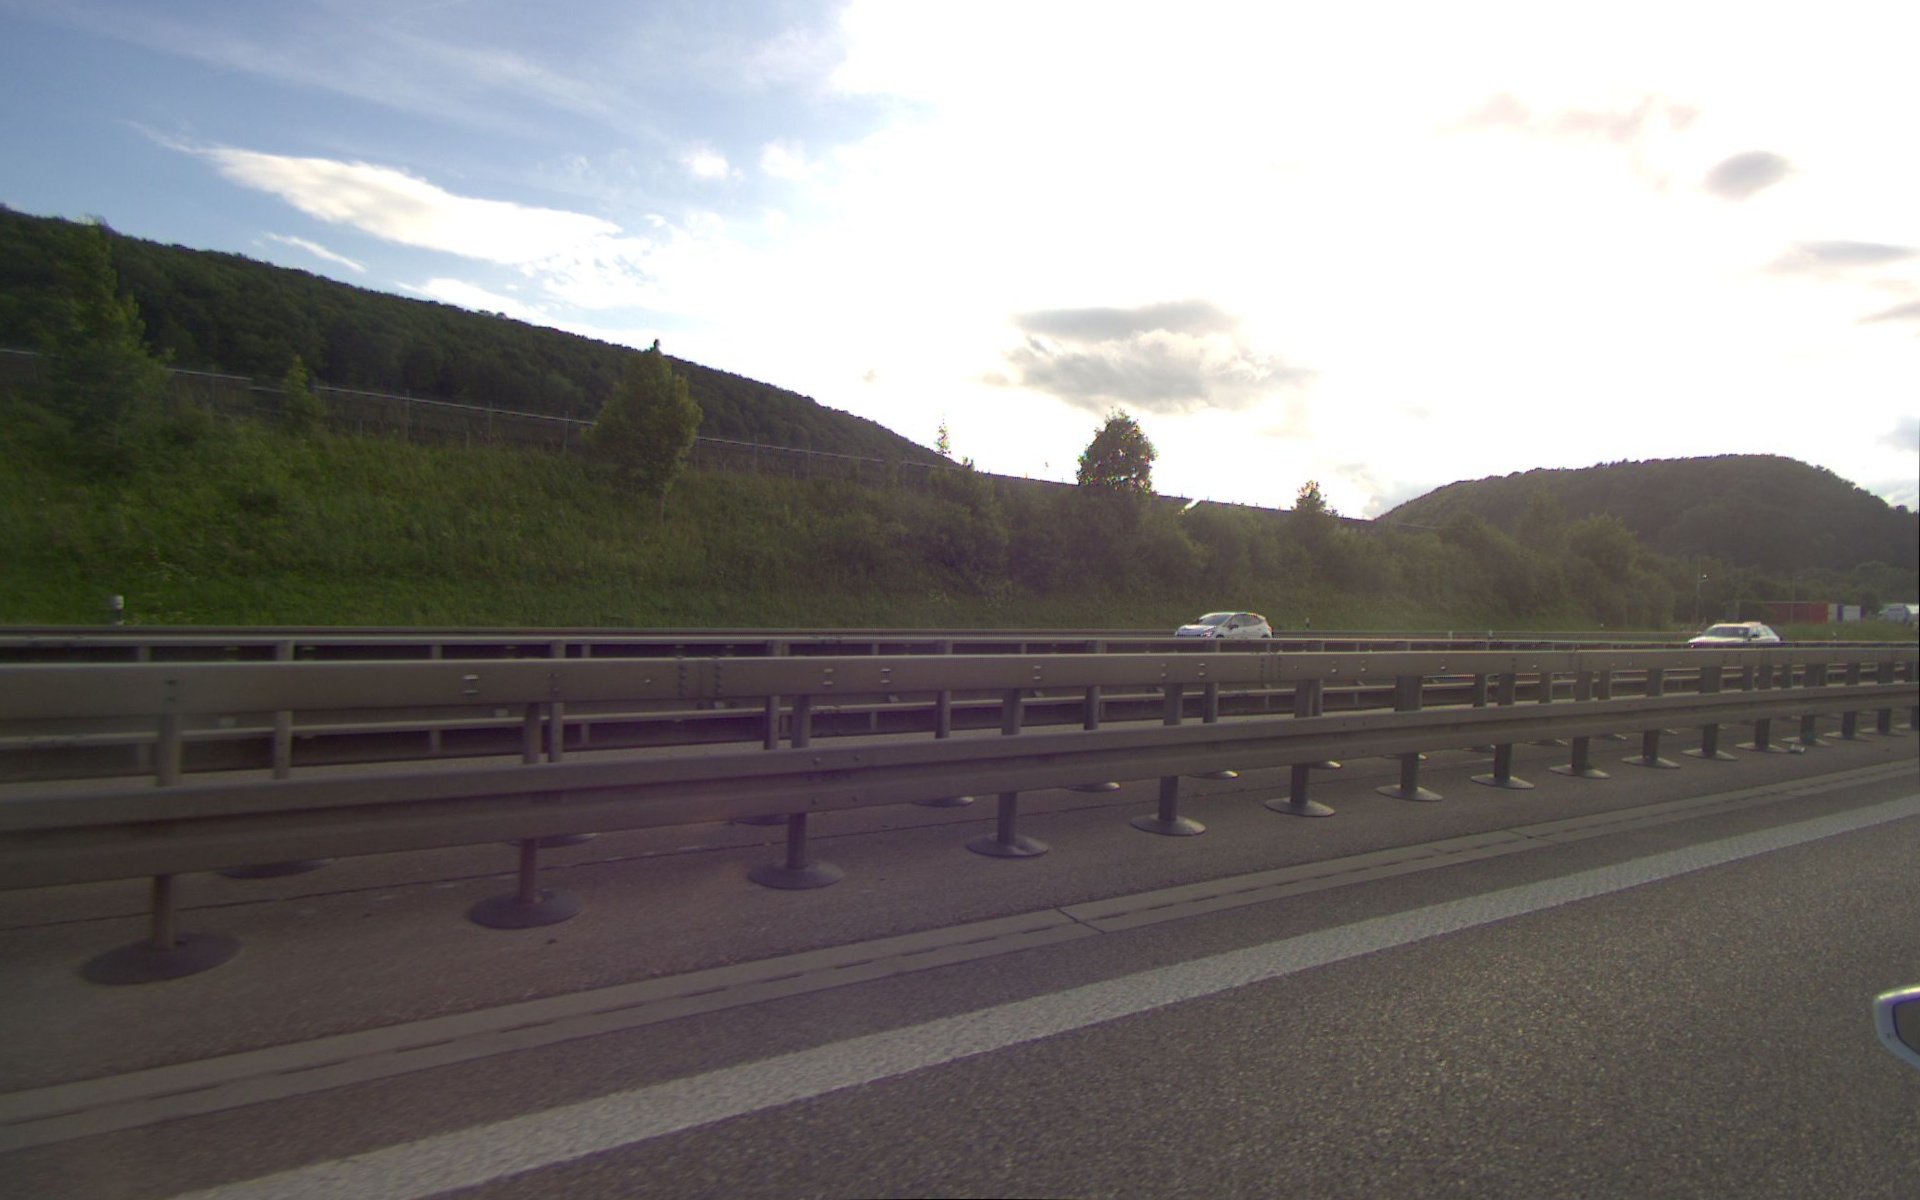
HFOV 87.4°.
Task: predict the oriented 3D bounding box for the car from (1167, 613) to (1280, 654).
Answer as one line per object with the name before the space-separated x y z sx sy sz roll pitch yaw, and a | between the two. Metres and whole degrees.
car | 9.631 1.197 36.555 4.345 1.376 1.745 2 -1 -39

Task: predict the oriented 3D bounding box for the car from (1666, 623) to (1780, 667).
car | 28.746 1.689 37.842 3.951 1.505 1.985 3 -2 -29

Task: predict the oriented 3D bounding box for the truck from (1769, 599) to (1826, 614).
truck | 121.814 0.927 146.258 2.842 2.040 7.313 2 -1 7

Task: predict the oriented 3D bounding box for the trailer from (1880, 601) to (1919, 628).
trailer | 117.718 1.857 125.137 12.153 2.891 2.559 3 -1 -38

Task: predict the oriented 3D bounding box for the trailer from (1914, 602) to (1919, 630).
trailer | 136.496 2.322 140.283 13.556 3.745 2.855 2 -2 -39

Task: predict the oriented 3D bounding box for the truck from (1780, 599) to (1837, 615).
truck | 125.898 1.030 149.138 2.841 2.256 7.312 0 0 7
